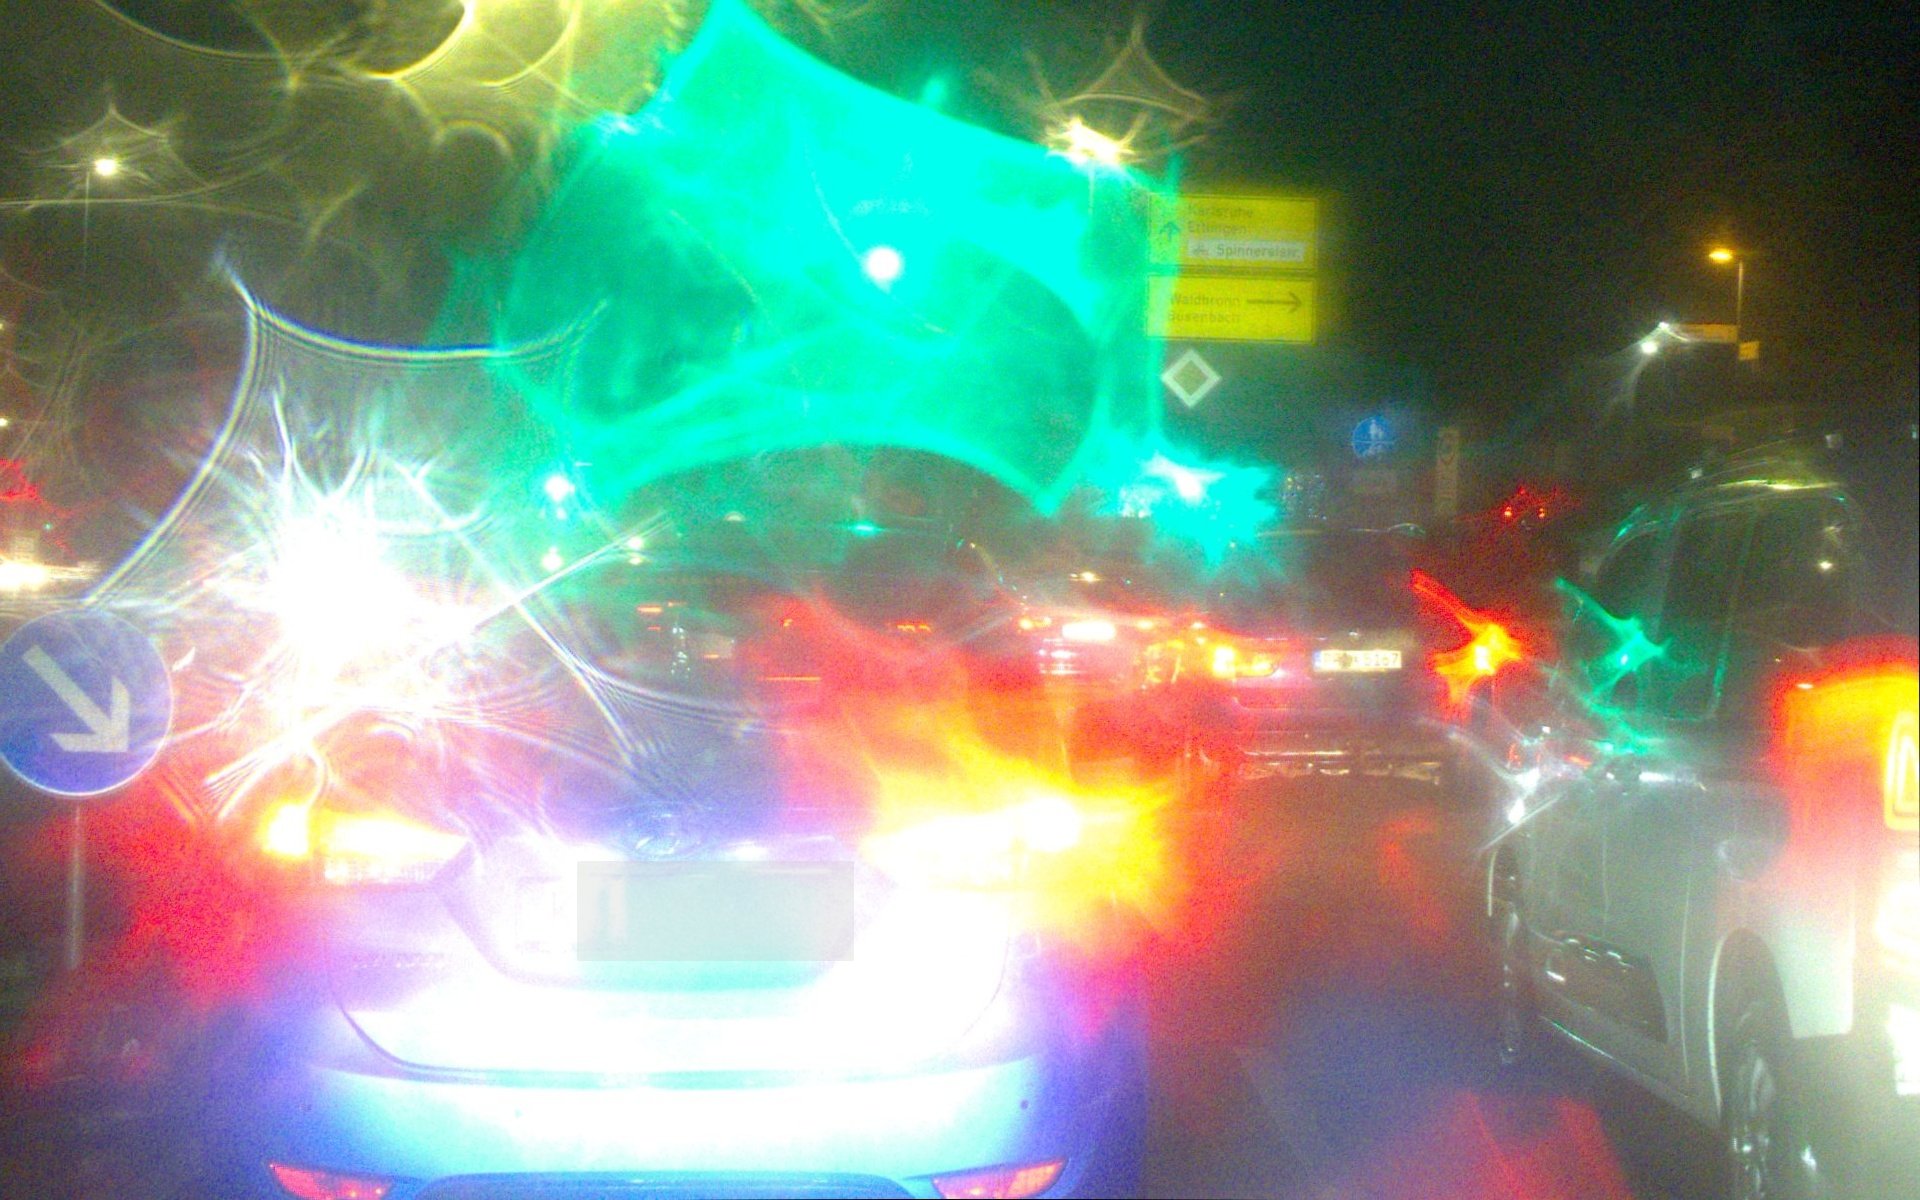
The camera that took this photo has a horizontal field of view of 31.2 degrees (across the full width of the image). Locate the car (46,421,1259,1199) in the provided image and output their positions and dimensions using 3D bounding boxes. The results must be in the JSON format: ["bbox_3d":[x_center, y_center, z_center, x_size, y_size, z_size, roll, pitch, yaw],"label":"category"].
[{"bbox_3d":[-0.662,0.562,8.023,2.014,1.711,4.452,1,0,-4],"label":"car"}]

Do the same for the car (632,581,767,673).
[{"bbox_3d":[-5.467,0.545,71.669,1.993,1.814,4.001,1,0,-16],"label":"car"}]

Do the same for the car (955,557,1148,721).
[{"bbox_3d":[0.980,0.406,38.855,1.993,1.712,4.000,1,0,-1],"label":"car"}]

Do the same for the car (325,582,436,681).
[{"bbox_3d":[-12.692,0.662,75.134,2.014,1.880,4.453,2,2,-14],"label":"car"}]

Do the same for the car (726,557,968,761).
[{"bbox_3d":[-0.974,0.484,30.861,1.993,1.678,4.000,1,0,-1],"label":"car"}]

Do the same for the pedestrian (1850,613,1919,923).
[{"bbox_3d":[5.579,0.941,19.324,0.864,1.696,0.619,2,-1,-29],"label":"pedestrian"}]

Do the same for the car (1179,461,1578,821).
[{"bbox_3d":[2.547,0.224,21.867,1.968,2.040,4.000,1,0,-1],"label":"car"}]

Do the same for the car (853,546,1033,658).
[{"bbox_3d":[-0.319,0.014,54.128,1.993,1.664,4.001,1,0,-13],"label":"car"}]

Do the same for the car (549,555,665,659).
[{"bbox_3d":[-6.524,0.119,63.290,1.993,1.818,4.001,1,0,-7],"label":"car"}]

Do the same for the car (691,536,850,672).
[{"bbox_3d":[-2.599,0.037,46.396,1.993,1.726,4.001,1,0,-5],"label":"car"}]

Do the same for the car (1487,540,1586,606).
[{"bbox_3d":[14.962,-0.700,89.357,1.865,1.641,3.963,-1,0,0],"label":"car"}]

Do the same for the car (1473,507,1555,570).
[{"bbox_3d":[18.577,-2.053,115.371,1.993,2.007,4.000,1,0,-1],"label":"car"}]

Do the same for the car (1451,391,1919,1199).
[{"bbox_3d":[2.478,0.557,8.390,1.851,1.858,4.341,1,0,-1],"label":"car"}]

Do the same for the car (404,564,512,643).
[{"bbox_3d":[-12.118,0.059,82.807,1.993,1.818,4.001,1,0,-17],"label":"car"}]
